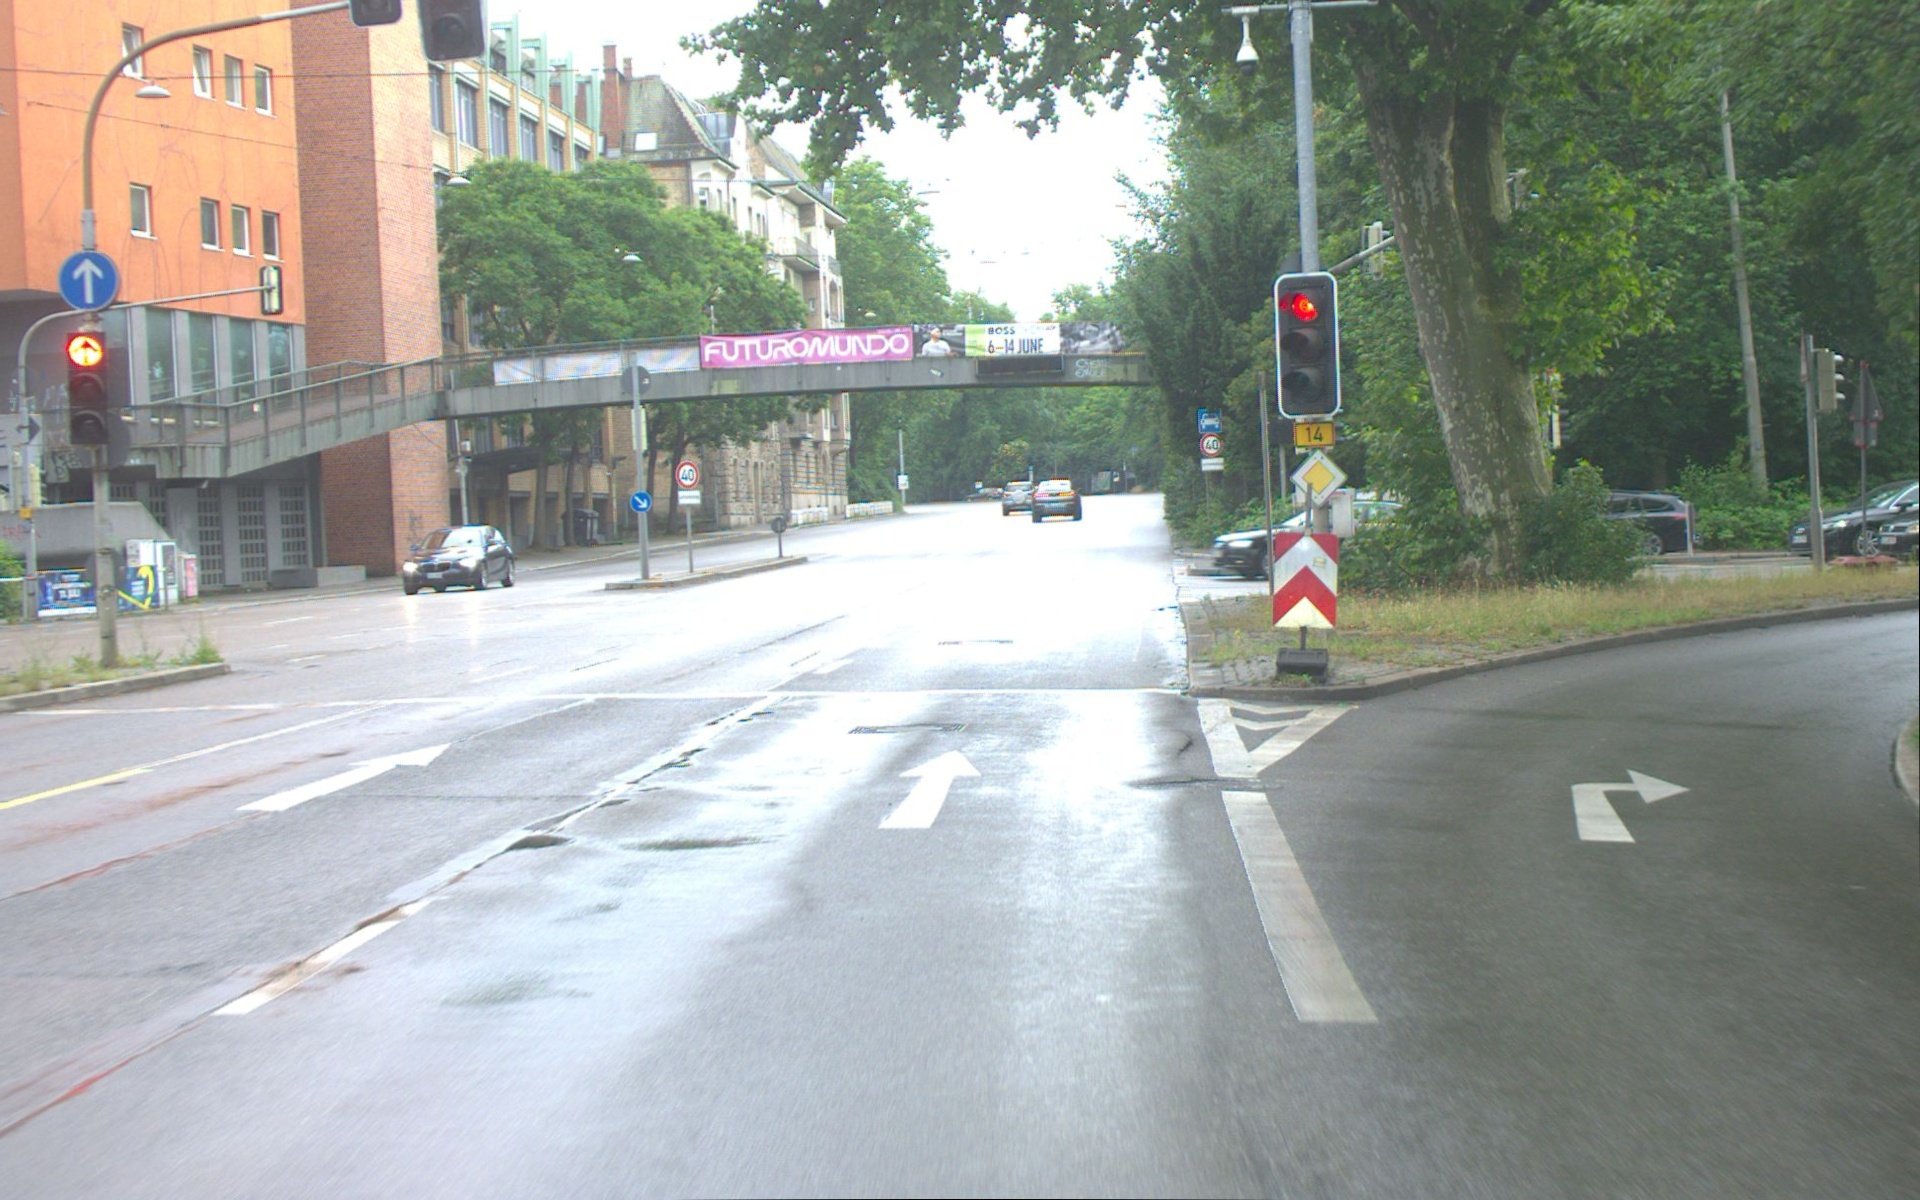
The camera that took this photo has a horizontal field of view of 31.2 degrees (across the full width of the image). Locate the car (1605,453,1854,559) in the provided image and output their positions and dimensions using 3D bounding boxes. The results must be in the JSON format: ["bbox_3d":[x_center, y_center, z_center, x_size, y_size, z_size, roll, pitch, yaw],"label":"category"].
[{"bbox_3d":[15.537,-1.894,69.523,4.338,1.829,2.136,-4,1,-8],"label":"car"}]

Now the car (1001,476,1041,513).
[{"bbox_3d":[3.008,-5.147,168.325,1.763,1.691,3.705,-4,1,2],"label":"car"}]

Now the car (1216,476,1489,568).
[{"bbox_3d":[7.089,-1.409,62.315,4.603,1.446,1.774,-3,1,-4],"label":"car"}]

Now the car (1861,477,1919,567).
[{"bbox_3d":[17.413,-1.369,58.121,3.853,1.480,1.673,-2,1,-12],"label":"car"}]

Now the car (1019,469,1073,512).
[{"bbox_3d":[3.597,-4.594,143.958,2.120,1.729,4.199,-1,2,0],"label":"car"}]

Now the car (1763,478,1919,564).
[{"bbox_3d":[16.785,-1.446,62.151,3.986,1.481,1.879,-2,1,-17],"label":"car"}]

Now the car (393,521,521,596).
[{"bbox_3d":[-10.982,-0.921,75.258,1.994,1.514,4.000,-2,1,3],"label":"car"}]
